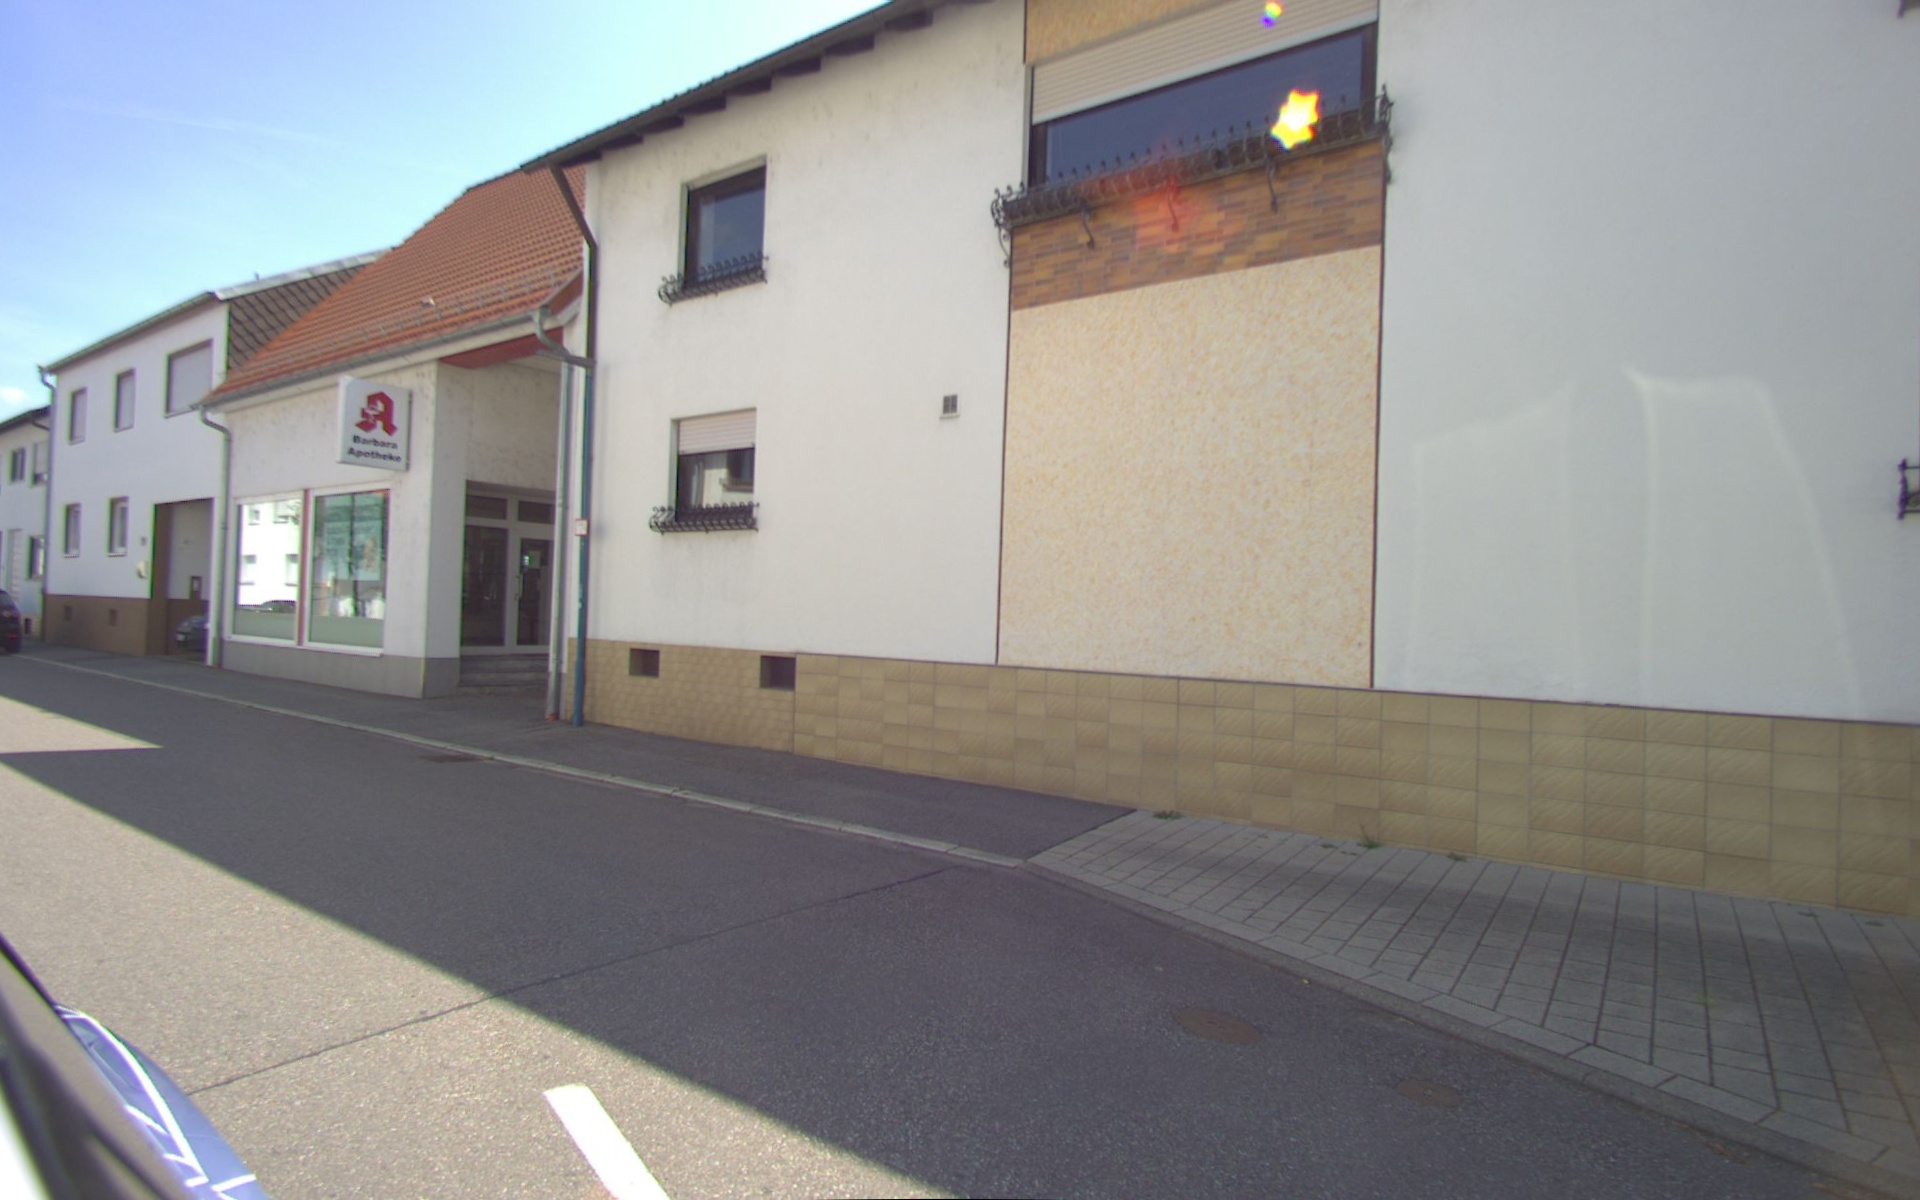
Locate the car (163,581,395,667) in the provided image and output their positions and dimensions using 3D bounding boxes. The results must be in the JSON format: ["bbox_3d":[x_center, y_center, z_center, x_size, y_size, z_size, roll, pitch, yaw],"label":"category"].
[{"bbox_3d":[-15.079,0.469,22.571,1.812,1.731,3.949,1,1,38],"label":"car"}]

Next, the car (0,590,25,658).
[{"bbox_3d":[-23.948,0.506,24.028,3.946,1.578,1.732,1,-2,35],"label":"car"}]
